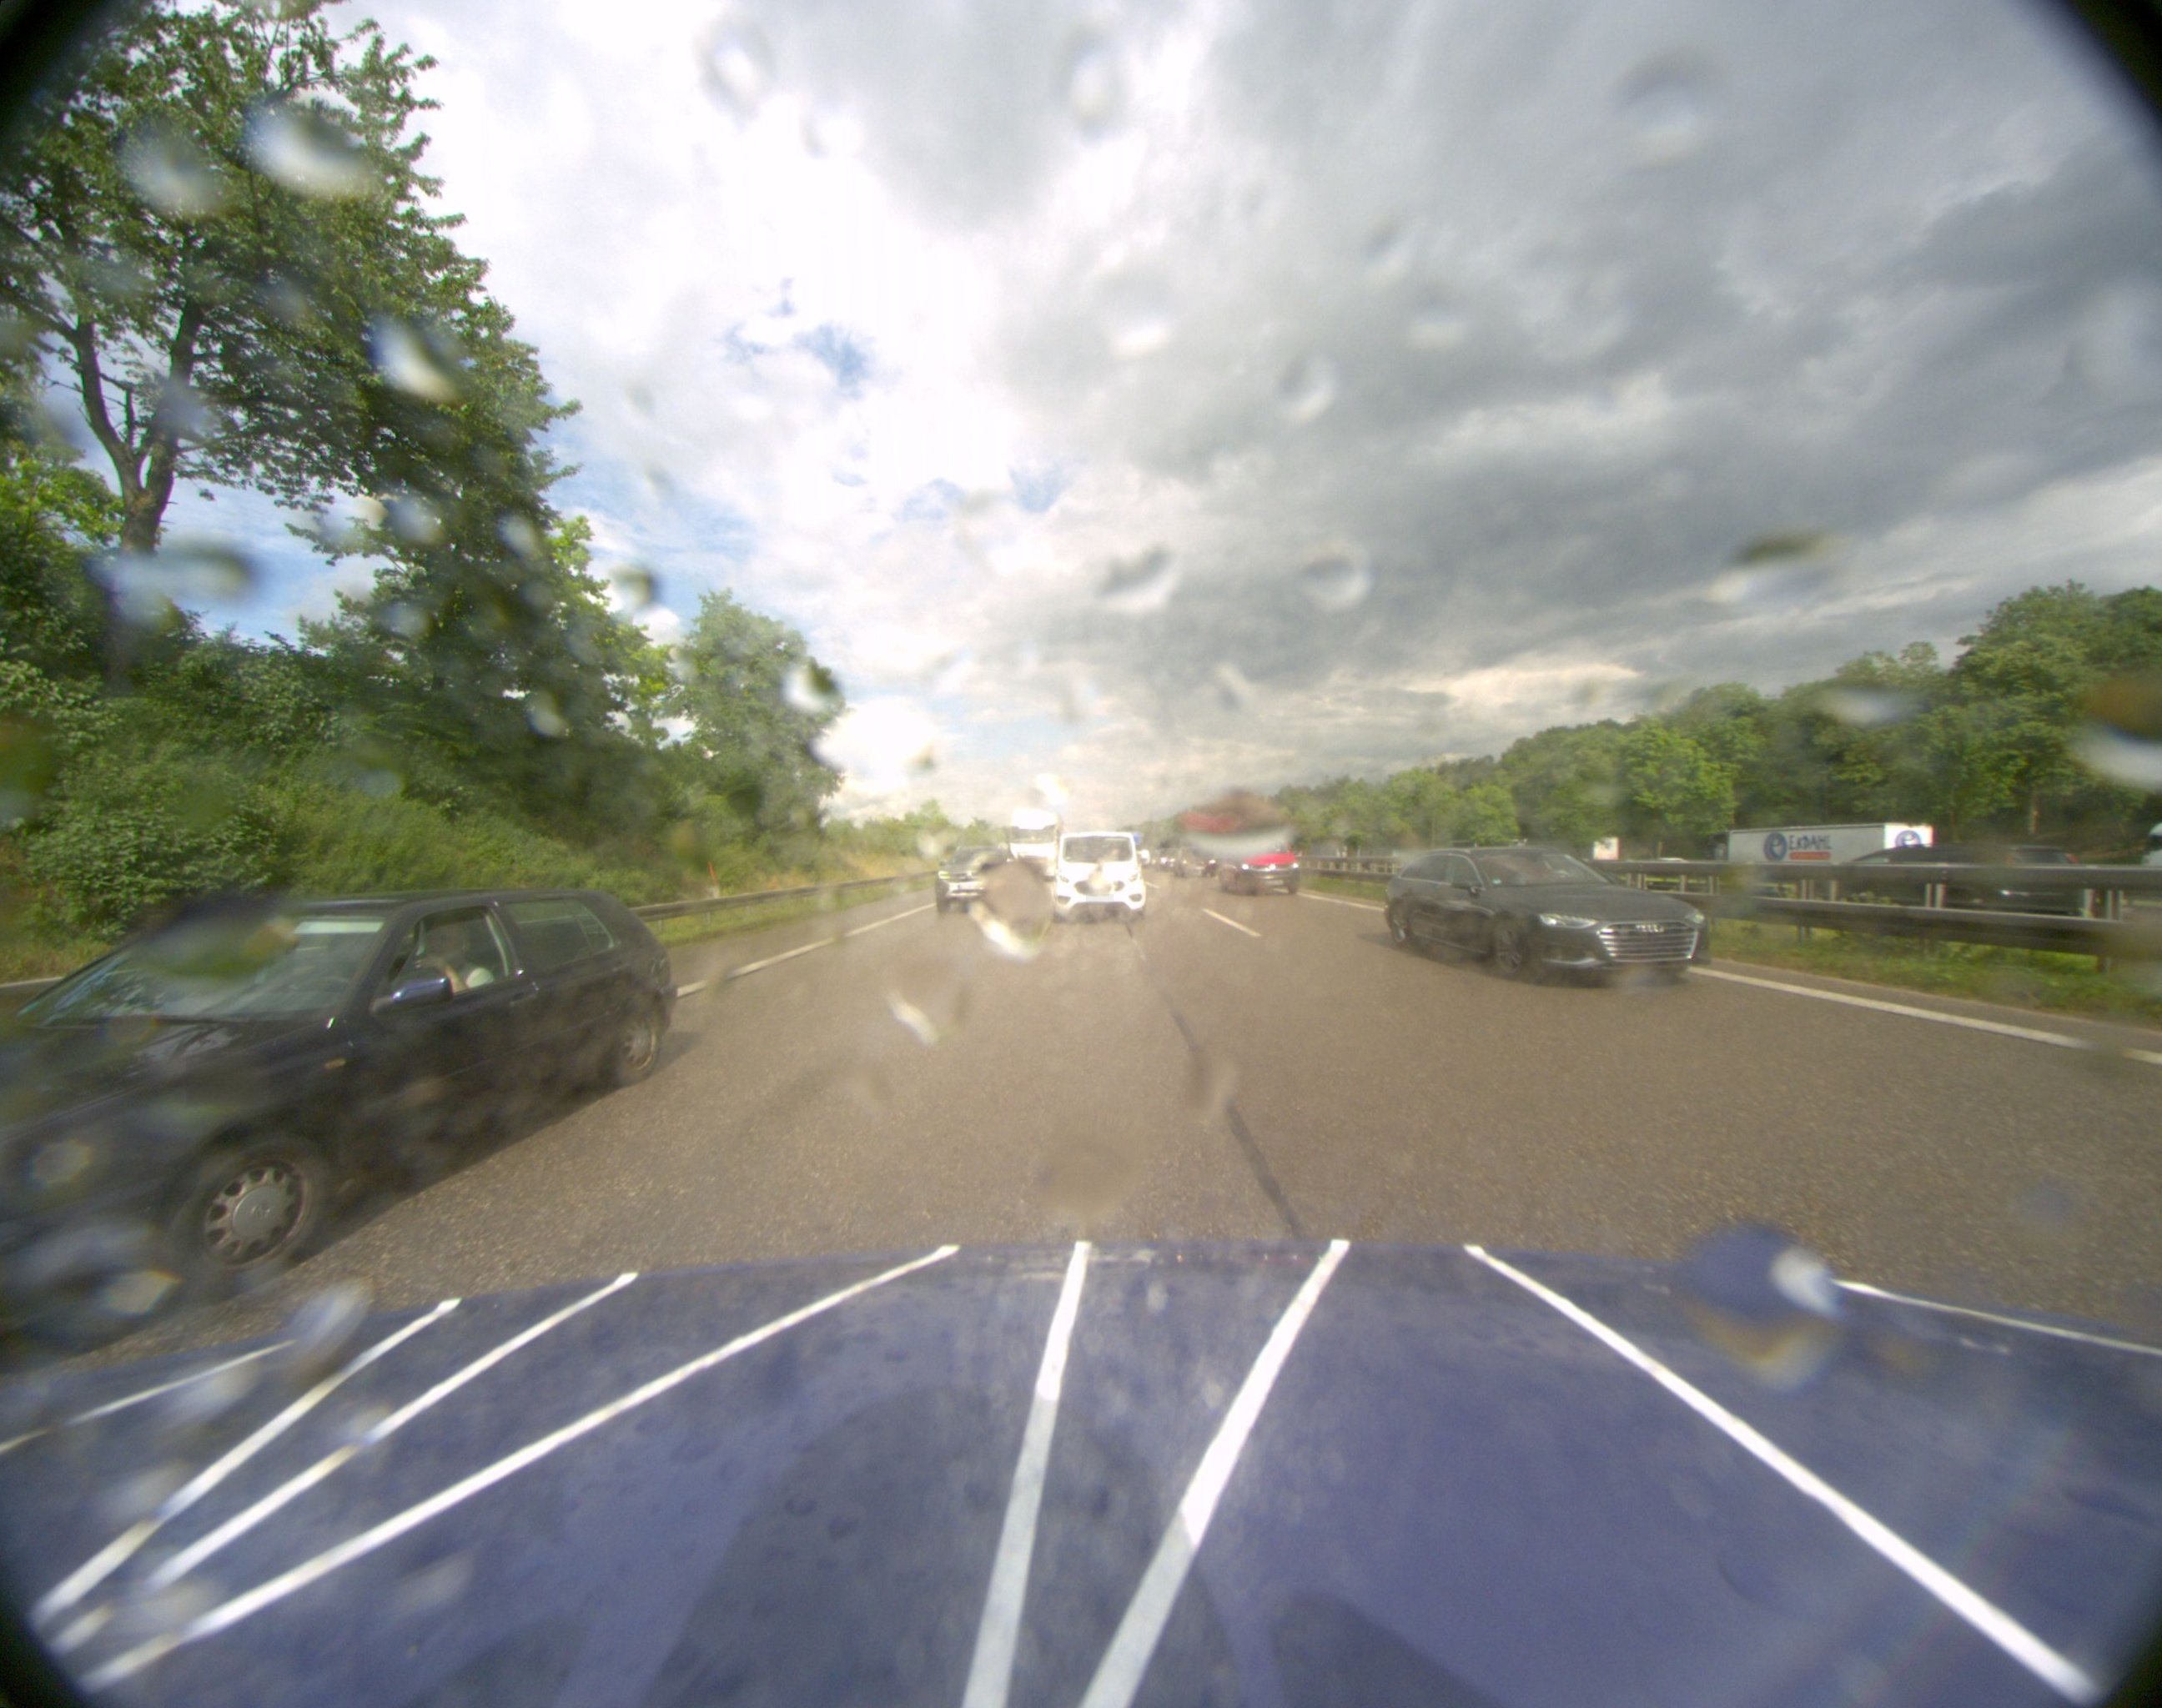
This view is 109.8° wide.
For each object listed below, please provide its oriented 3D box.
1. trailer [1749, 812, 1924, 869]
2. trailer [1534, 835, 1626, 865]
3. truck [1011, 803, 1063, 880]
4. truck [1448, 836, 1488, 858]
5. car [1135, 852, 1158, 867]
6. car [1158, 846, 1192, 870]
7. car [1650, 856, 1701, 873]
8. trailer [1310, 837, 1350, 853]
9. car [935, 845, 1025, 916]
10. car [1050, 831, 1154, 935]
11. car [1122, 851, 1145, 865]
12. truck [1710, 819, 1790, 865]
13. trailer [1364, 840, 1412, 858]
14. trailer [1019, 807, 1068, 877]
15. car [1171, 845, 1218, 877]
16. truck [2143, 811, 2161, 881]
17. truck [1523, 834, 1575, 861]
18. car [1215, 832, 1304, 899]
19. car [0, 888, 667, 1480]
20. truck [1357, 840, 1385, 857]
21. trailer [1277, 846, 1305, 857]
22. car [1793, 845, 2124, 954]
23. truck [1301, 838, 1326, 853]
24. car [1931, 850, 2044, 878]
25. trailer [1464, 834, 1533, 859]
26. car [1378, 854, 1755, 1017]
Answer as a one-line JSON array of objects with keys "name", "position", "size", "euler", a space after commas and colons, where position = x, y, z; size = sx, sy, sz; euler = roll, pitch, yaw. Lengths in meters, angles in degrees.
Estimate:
[{"name": "trailer", "position": [52.777, -0.892, 53.750], "size": [2.186, 3.579, 11.725], "euler": [0, 1, 8]}, {"name": "trailer", "position": [56.723, -0.506, 86.935], "size": [3.026, 3.174, 12.175], "euler": [0, 1, 2]}, {"name": "truck", "position": [-2.455, -0.697, 43.972], "size": [2.460, 4.080, 5.332], "euler": [-2, 0, 1]}, {"name": "truck", "position": [57.685, -1.082, 113.453], "size": [2.582, 3.232, 6.535], "euler": [0, 1, 0]}, {"name": "car", "position": [5.745, 0.473, 67.011], "size": [1.675, 1.228, 3.999], "euler": [-2, 0, 0]}, {"name": "car", "position": [6.606, 0.264, 53.740], "size": [1.895, 1.558, 4.053], "euler": [-1, 1, 0]}, {"name": "car", "position": [55.527, 0.920, 71.030], "size": [1.899, 1.494, 4.001], "euler": [0, 1, 5]}, {"name": "trailer", "position": [53.909, -1.955, 164.938], "size": [3.085, 3.253, 13.400], "euler": [0, 1, -6]}, {"name": "car", "position": [-2.784, 0.661, 22.206], "size": [1.831, 1.793, 5.305], "euler": [-1, 1, 1]}, {"name": "car", "position": [0.432, 0.549, 17.464], "size": [1.985, 1.973, 5.168], "euler": [-2, 0, 0]}, {"name": "car", "position": [5.125, 0.342, 74.681], "size": [1.888, 1.228, 4.506], "euler": [-2, 0, 0]}, {"name": "truck", "position": [53.833, -0.951, 61.322], "size": [2.167, 3.599, 5.581], "euler": [0, 1, 8]}, {"name": "trailer", "position": [56.456, -0.958, 140.197], "size": [3.193, 3.253, 12.644], "euler": [0, 1, -2]}, {"name": "trailer", "position": [-2.365, -0.771, 51.439], "size": [2.451, 4.095, 12.214], "euler": [-2, 1, 1]}, {"name": "car", "position": [6.197, 0.339, 41.916], "size": [1.895, 1.660, 4.294], "euler": [-1, 1, 0]}, {"name": "truck", "position": [48.248, -0.345, 31.534], "size": [1.979, 3.080, 5.080], "euler": [-2, 1, 13]}, {"name": "truck", "position": [57.136, -0.835, 92.855], "size": [3.049, 3.166, 5.597], "euler": [0, 1, 2]}, {"name": "car", "position": [5.883, 0.338, 25.636], "size": [1.895, 1.973, 4.750], "euler": [-2, 0, 0]}, {"name": "car", "position": [-3.846, 1.010, 3.646], "size": [1.655, 1.448, 3.744], "euler": [-1, 1, -1]}, {"name": "truck", "position": [56.223, -1.041, 147.612], "size": [3.182, 3.237, 5.389], "euler": [1, 1, -2]}, {"name": "trailer", "position": [51.240, -0.534, 185.439], "size": [2.537, 2.559, 9.869], "euler": [-2, 1, -11]}, {"name": "car", "position": [18.231, 0.822, 16.198], "size": [1.998, 1.953, 4.395], "euler": [-2, 0, 1]}, {"name": "truck", "position": [53.019, -1.897, 173.339], "size": [3.082, 3.237, 6.093], "euler": [0, 1, -6]}, {"name": "car", "position": [50.922, 0.513, 42.814], "size": [1.898, 1.494, 4.002], "euler": [0, 1, 8]}, {"name": "trailer", "position": [57.627, -0.990, 105.341], "size": [2.611, 3.253, 12.646], "euler": [0, 1, 0]}, {"name": "car", "position": [5.327, 0.753, 9.199], "size": [1.723, 1.403, 4.467], "euler": [-2, 1, 1]}]
